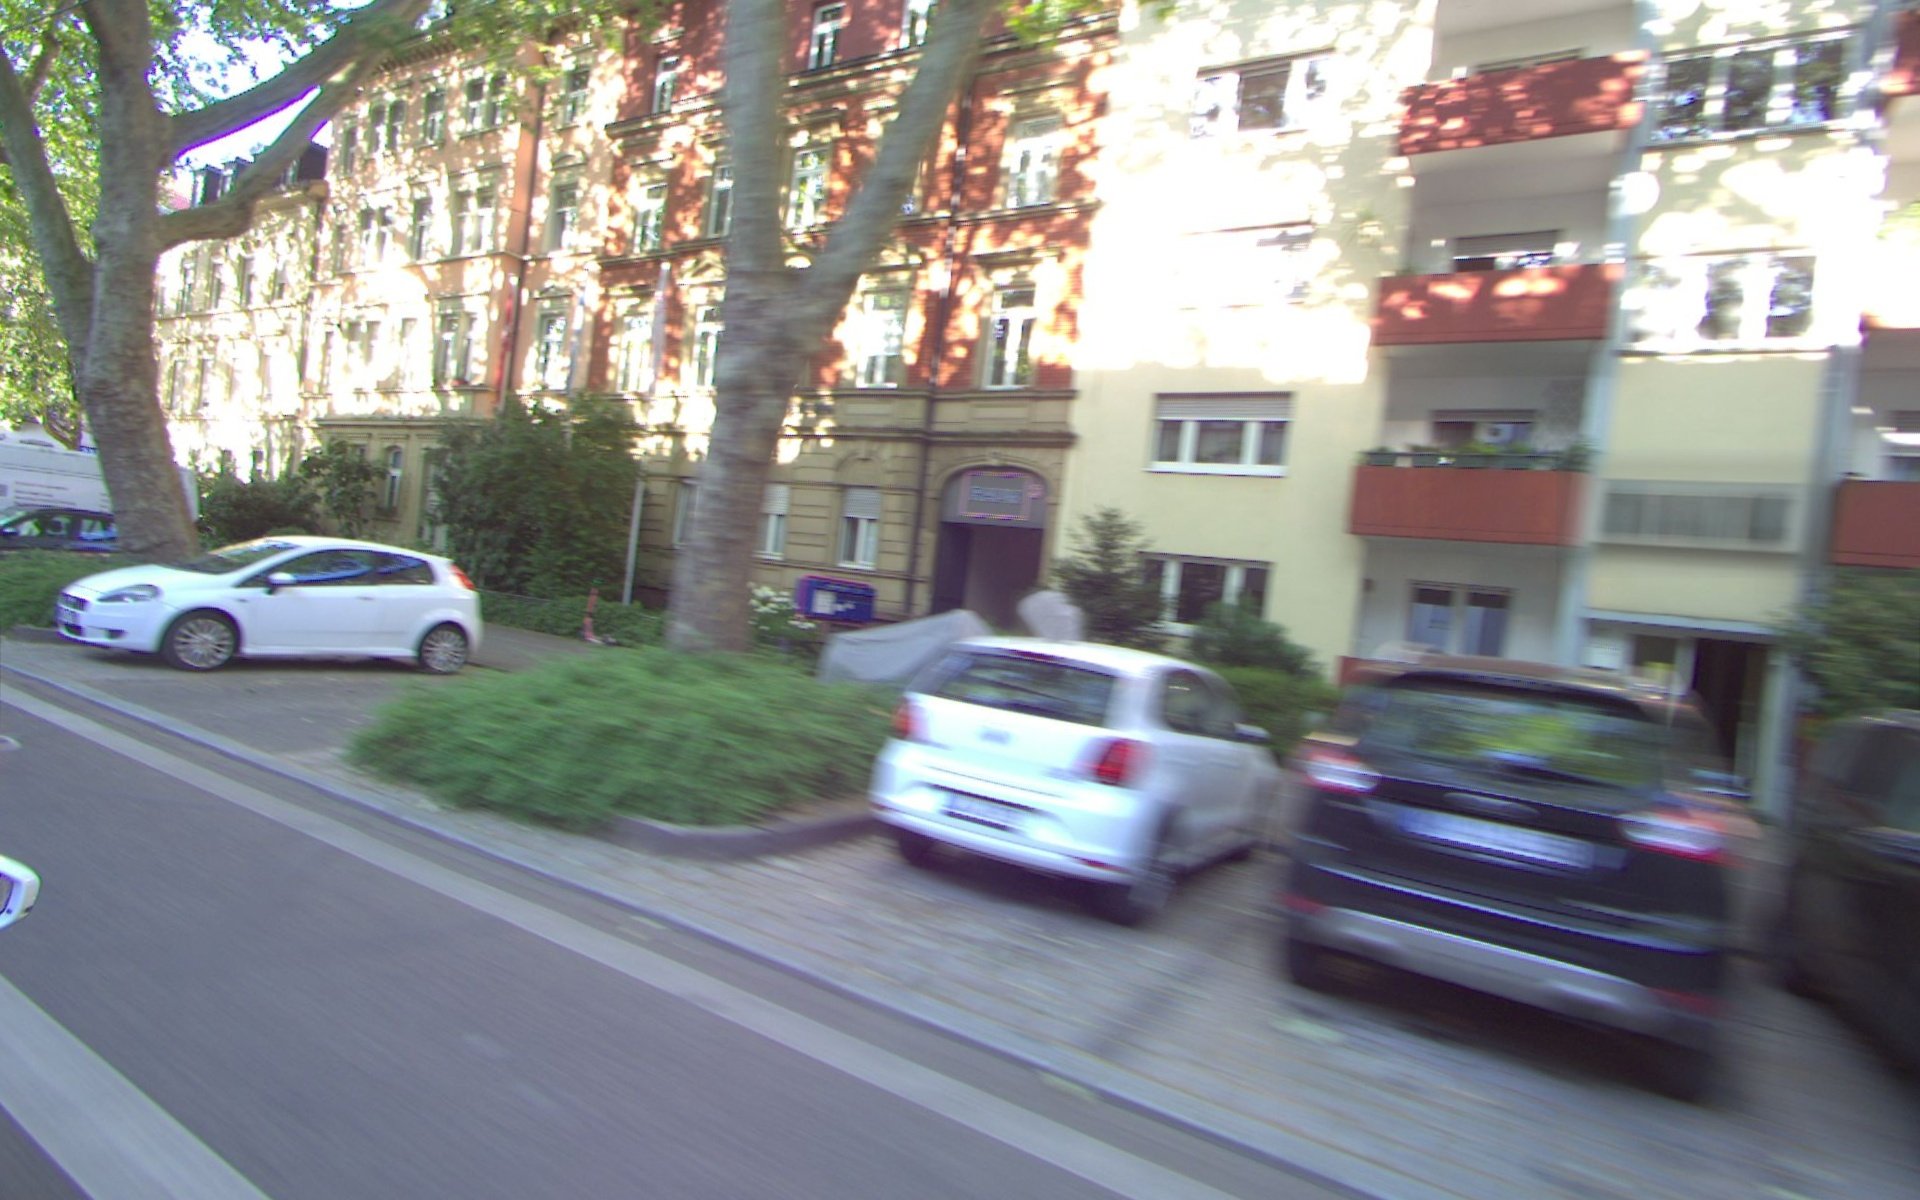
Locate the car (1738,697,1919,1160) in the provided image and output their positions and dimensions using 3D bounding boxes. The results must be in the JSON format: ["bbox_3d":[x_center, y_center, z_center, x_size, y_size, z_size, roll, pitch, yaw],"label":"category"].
[{"bbox_3d":[4.900,1.397,4.255,1.713,1.672,4.299,7,-1,29],"label":"car"}]

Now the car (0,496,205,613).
[{"bbox_3d":[-15.450,-0.857,16.563,1.753,1.570,4.398,7,-2,31],"label":"car"}]

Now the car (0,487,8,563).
[{"bbox_3d":[-23.174,-1.889,21.296,1.765,1.675,3.962,6,-1,29],"label":"car"}]

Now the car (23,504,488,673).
[{"bbox_3d":[-7.801,-0.029,11.521,1.661,1.498,3.956,7,0,33],"label":"car"}]

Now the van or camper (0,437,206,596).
[{"bbox_3d":[-17.493,-1.652,17.911,2.072,2.521,6.041,7,0,31],"label":"van or camper"}]

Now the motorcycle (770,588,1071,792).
[{"bbox_3d":[-0.437,0.795,9.717,2.771,1.497,0.841,7,1,31],"label":"motorcycle"}]

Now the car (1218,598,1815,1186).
[{"bbox_3d":[2.971,1.115,5.485,1.775,1.766,3.999,7,0,31],"label":"car"}]

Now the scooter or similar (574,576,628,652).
[{"bbox_3d":[-6.430,0.248,17.982,1.107,1.239,0.274,7,0,41],"label":"scooter or similar"}]

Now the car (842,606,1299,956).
[{"bbox_3d":[1.007,1.004,6.798,1.632,1.513,3.615,7,-1,30],"label":"car"}]
